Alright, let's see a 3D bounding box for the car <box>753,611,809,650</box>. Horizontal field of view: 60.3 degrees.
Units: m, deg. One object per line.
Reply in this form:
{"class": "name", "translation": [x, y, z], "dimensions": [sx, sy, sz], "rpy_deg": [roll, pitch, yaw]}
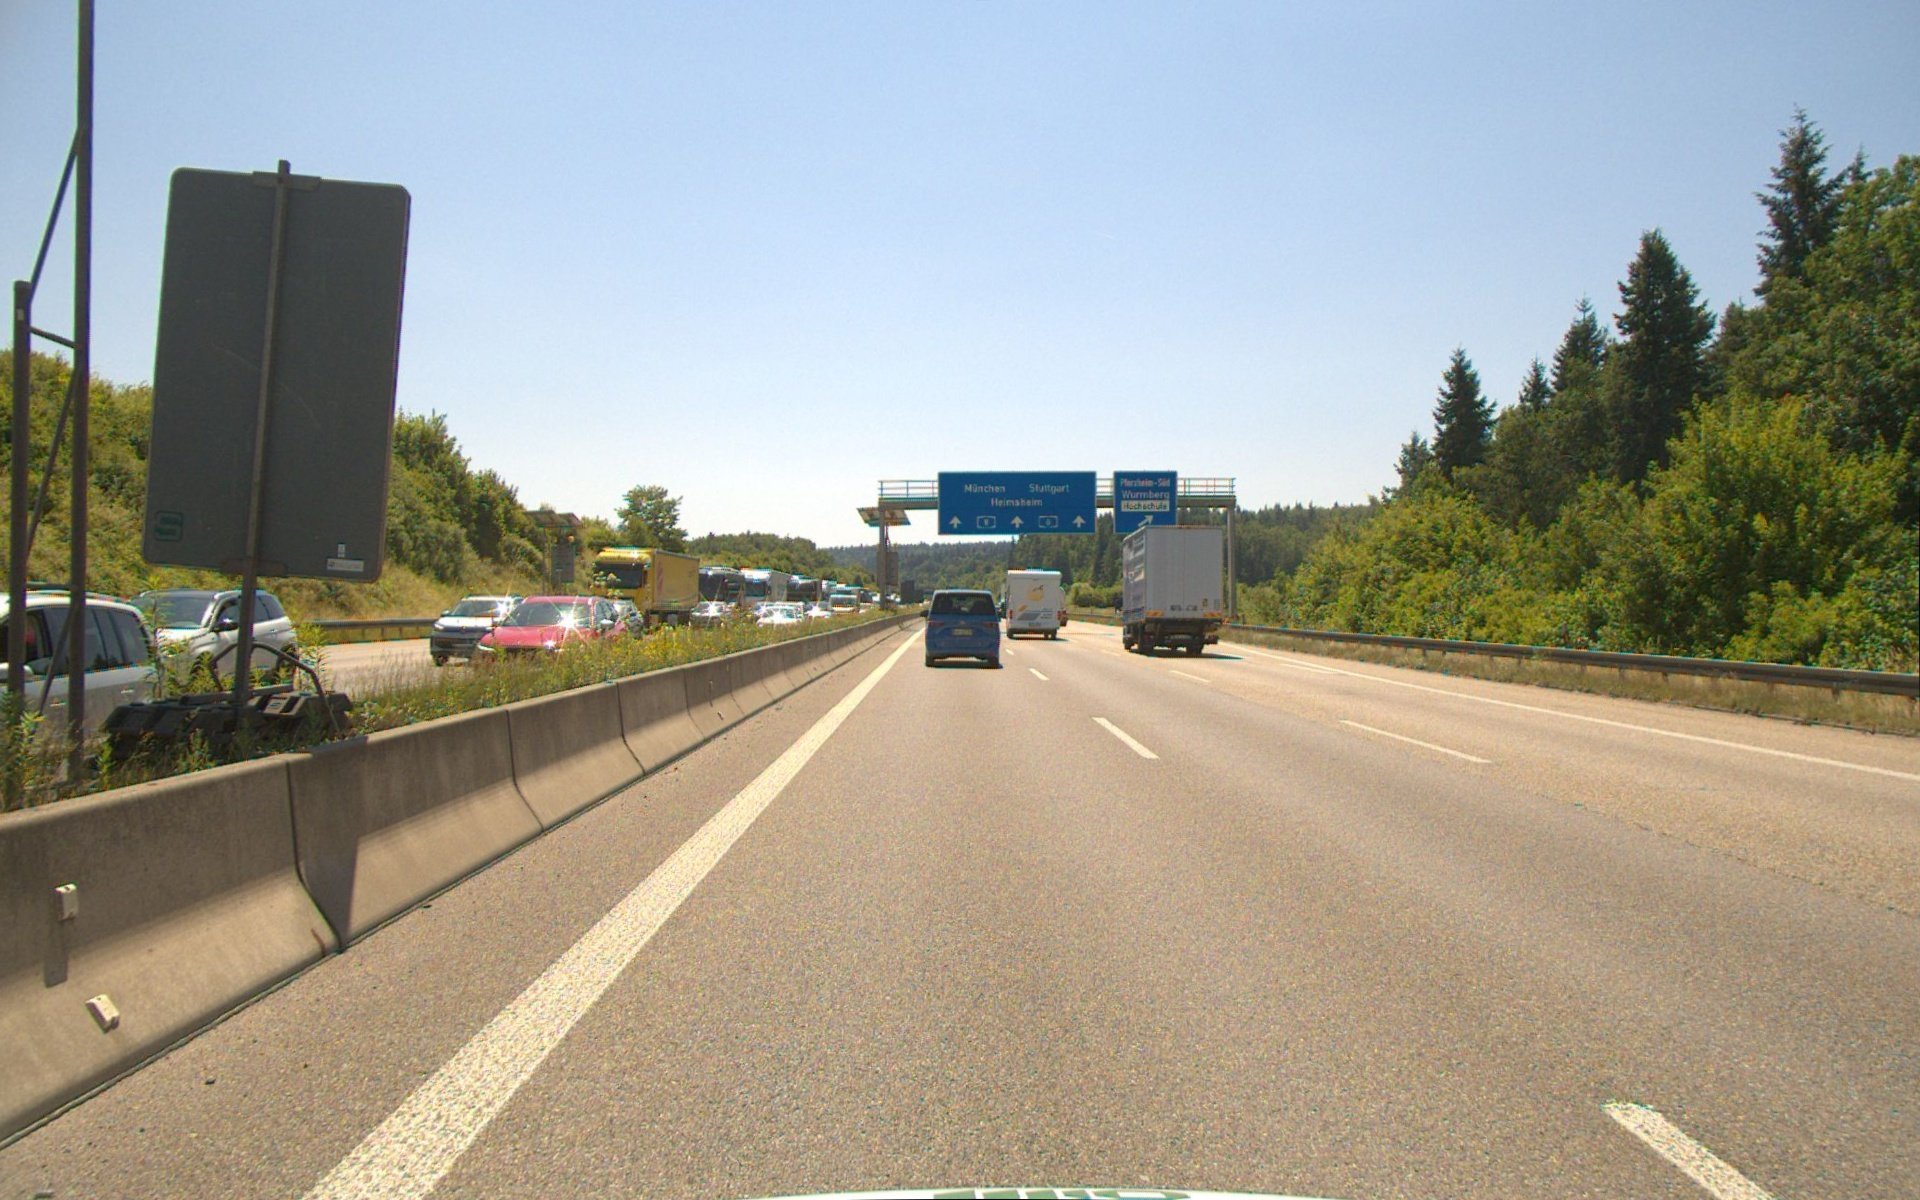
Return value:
{"class": "car", "translation": [-7.372, 1.247, 68.577], "dimensions": [1.774, 1.539, 4.817], "rpy_deg": [1, -1, 0]}

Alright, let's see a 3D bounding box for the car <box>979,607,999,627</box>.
{"class": "car", "translation": [2.766, 1.623, 156.205], "dimensions": [1.781, 1.825, 3.894], "rpy_deg": [1, -1, 0]}

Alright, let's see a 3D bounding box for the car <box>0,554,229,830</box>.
{"class": "car", "translation": [-7.162, 0.594, 11.789], "dimensions": [1.791, 1.795, 4.988], "rpy_deg": [1, -1, -2]}

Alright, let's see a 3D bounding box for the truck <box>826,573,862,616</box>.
{"class": "truck", "translation": [-8.168, -0.363, 116.817], "dimensions": [2.077, 2.891, 6.211], "rpy_deg": [1, -1, 0]}

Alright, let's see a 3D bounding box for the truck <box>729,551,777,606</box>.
{"class": "truck", "translation": [-16.202, -1.605, 129.969], "dimensions": [2.724, 4.186, 7.030], "rpy_deg": [0, -1, 1]}

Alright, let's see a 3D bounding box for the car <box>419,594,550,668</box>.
{"class": "car", "translation": [-11.562, 0.734, 40.578], "dimensions": [1.774, 1.657, 4.908], "rpy_deg": [1, -1, 0]}

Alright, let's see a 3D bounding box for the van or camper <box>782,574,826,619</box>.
{"class": "van or camper", "translation": [-12.187, -0.221, 129.778], "dimensions": [2.477, 3.418, 7.944], "rpy_deg": [1, -1, 1]}

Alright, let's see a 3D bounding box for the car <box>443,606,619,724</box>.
{"class": "car", "translation": [-7.106, 1.017, 27.921], "dimensions": [1.791, 1.795, 4.988], "rpy_deg": [1, -1, -2]}

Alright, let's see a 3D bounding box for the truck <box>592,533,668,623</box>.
{"class": "truck", "translation": [-15.807, -0.981, 79.522], "dimensions": [2.550, 4.136, 6.130], "rpy_deg": [1, -1, -2]}

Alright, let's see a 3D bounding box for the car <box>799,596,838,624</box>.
{"class": "car", "translation": [-7.992, 0.578, 93.740], "dimensions": [1.774, 1.539, 5.029], "rpy_deg": [1, -1, 0]}

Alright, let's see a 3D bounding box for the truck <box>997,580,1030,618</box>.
{"class": "truck", "translation": [6.181, -0.085, 191.711], "dimensions": [3.416, 4.243, 8.641], "rpy_deg": [1, -1, 0]}

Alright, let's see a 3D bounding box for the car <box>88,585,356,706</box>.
{"class": "car", "translation": [-11.195, 0.652, 25.558], "dimensions": [1.774, 1.657, 5.218], "rpy_deg": [1, -1, 0]}

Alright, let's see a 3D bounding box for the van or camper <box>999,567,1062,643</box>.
{"class": "van or camper", "translation": [3.188, 0.152, 76.327], "dimensions": [2.550, 3.131, 7.184], "rpy_deg": [1, 3, 0]}

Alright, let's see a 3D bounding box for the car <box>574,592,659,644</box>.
{"class": "car", "translation": [-11.668, 0.597, 56.497], "dimensions": [1.774, 1.657, 5.381], "rpy_deg": [1, -1, 0]}

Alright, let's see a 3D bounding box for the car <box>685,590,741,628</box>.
{"class": "car", "translation": [-12.006, 0.456, 80.859], "dimensions": [1.824, 1.783, 5.901], "rpy_deg": [1, -1, 0]}

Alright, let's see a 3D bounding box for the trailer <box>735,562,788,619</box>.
{"class": "trailer", "translation": [-16.119, -0.688, 135.119], "dimensions": [2.724, 4.380, 11.711], "rpy_deg": [0, -1, 1]}

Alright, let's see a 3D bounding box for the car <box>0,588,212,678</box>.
{"class": "car", "translation": [-15.481, 0.576, 30.167], "dimensions": [1.774, 1.492, 4.122], "rpy_deg": [1, -1, 0]}

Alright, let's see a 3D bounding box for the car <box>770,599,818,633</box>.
{"class": "car", "translation": [-7.961, 0.775, 79.582], "dimensions": [1.774, 1.539, 5.029], "rpy_deg": [1, -1, 0]}

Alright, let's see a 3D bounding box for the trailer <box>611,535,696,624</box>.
{"class": "trailer", "translation": [-16.010, -0.922, 87.311], "dimensions": [2.597, 4.217, 11.849], "rpy_deg": [1, -1, -2]}

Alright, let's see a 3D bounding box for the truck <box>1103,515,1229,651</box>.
{"class": "truck", "translation": [6.873, -0.493, 56.600], "dimensions": [2.727, 4.201, 9.735], "rpy_deg": [1, -1, -2]}

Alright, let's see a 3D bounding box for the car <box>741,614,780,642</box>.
{"class": "car", "translation": [-11.947, 1.671, 99.221], "dimensions": [1.739, 1.641, 4.558], "rpy_deg": [1, -1, 0]}

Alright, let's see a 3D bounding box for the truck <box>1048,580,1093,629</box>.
{"class": "truck", "translation": [8.501, 0.274, 127.930], "dimensions": [2.868, 3.637, 8.526], "rpy_deg": [-1, 1, 0]}

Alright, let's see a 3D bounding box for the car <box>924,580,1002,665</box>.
{"class": "car", "translation": [0.041, 0.519, 42.113], "dimensions": [1.870, 2.049, 4.000], "rpy_deg": [-1, 1, -1]}
